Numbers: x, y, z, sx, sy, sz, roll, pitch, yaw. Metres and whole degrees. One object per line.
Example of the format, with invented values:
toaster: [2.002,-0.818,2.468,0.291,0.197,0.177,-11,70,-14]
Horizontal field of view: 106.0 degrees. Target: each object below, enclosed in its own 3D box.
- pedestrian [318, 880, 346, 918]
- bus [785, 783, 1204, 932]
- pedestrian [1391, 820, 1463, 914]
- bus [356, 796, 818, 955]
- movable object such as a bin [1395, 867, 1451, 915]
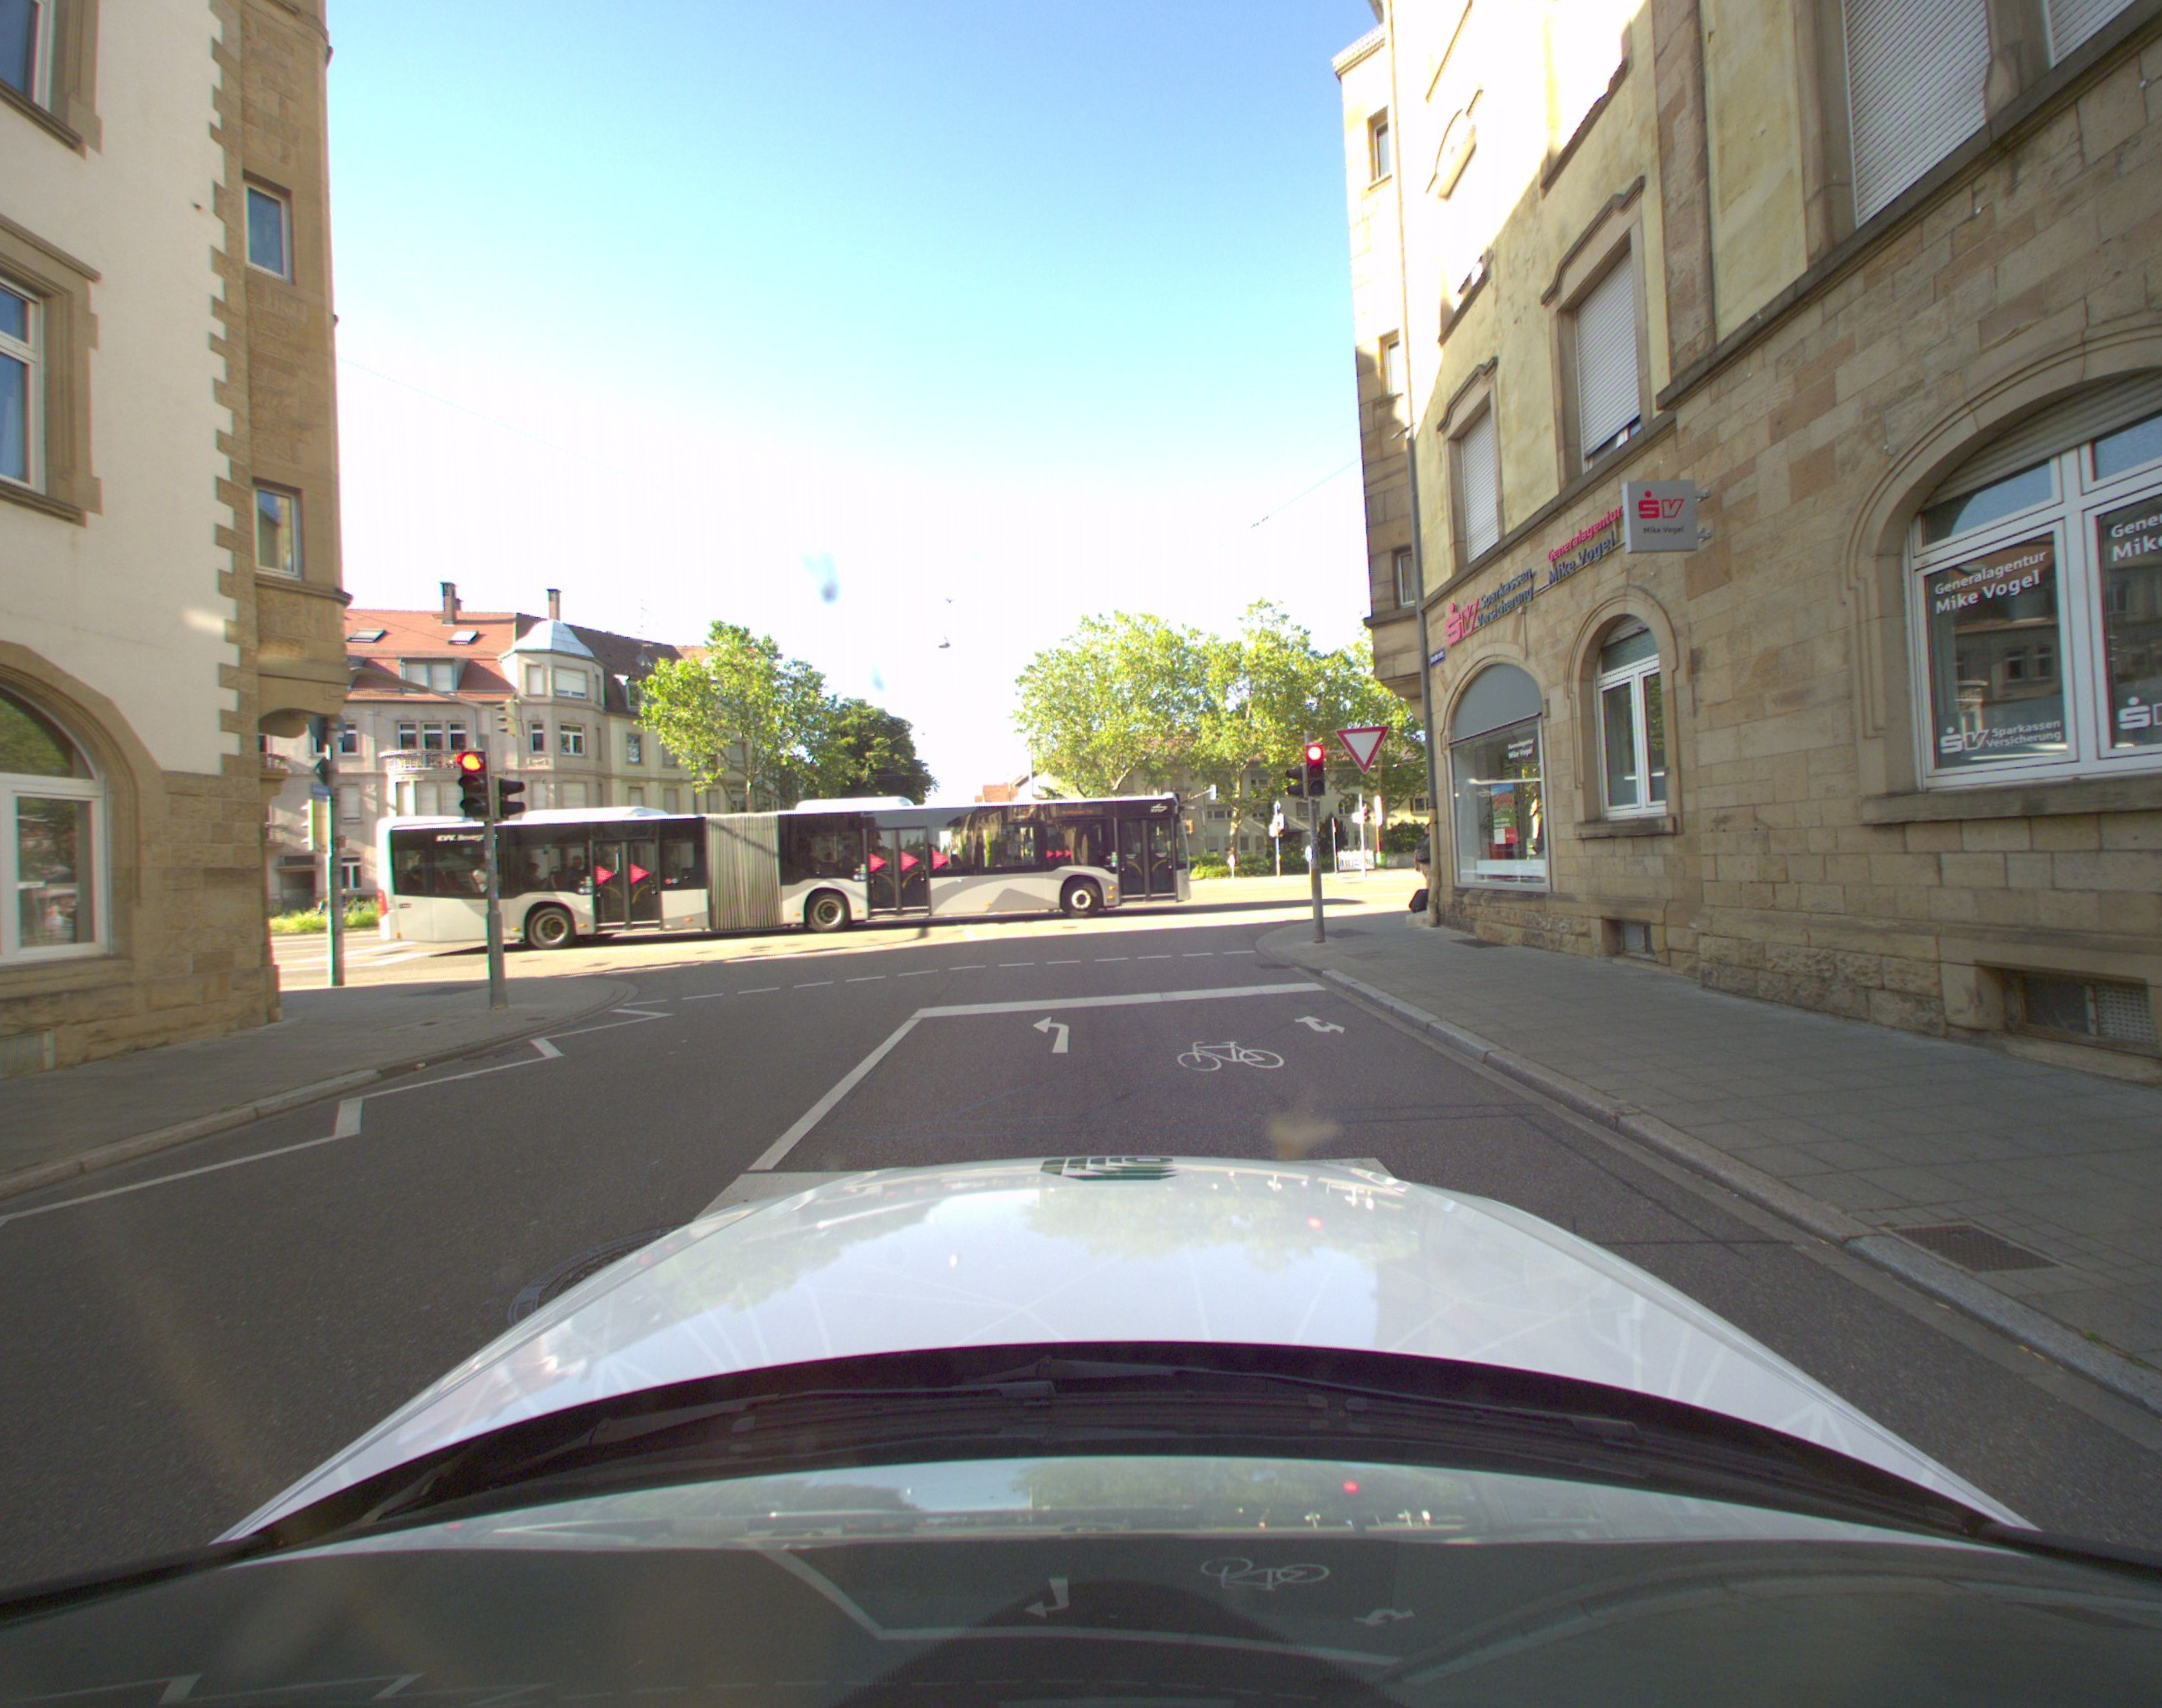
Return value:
pedestrian: [-37.722,2.272,41.023,0.738,1.851,0.846,0,-1,-17]
bus: [-2.012,0.033,20.342,9.610,3.096,2.739,-2,0,-7]
pedestrian: [7.055,0.260,16.625,1.066,1.848,0.746,-2,-1,-11]
bus: [-11.084,0.424,19.172,8.816,3.096,2.739,-2,0,-8]
movable object such as a bin: [6.752,0.721,16.087,0.862,0.892,0.507,-3,0,-11]
